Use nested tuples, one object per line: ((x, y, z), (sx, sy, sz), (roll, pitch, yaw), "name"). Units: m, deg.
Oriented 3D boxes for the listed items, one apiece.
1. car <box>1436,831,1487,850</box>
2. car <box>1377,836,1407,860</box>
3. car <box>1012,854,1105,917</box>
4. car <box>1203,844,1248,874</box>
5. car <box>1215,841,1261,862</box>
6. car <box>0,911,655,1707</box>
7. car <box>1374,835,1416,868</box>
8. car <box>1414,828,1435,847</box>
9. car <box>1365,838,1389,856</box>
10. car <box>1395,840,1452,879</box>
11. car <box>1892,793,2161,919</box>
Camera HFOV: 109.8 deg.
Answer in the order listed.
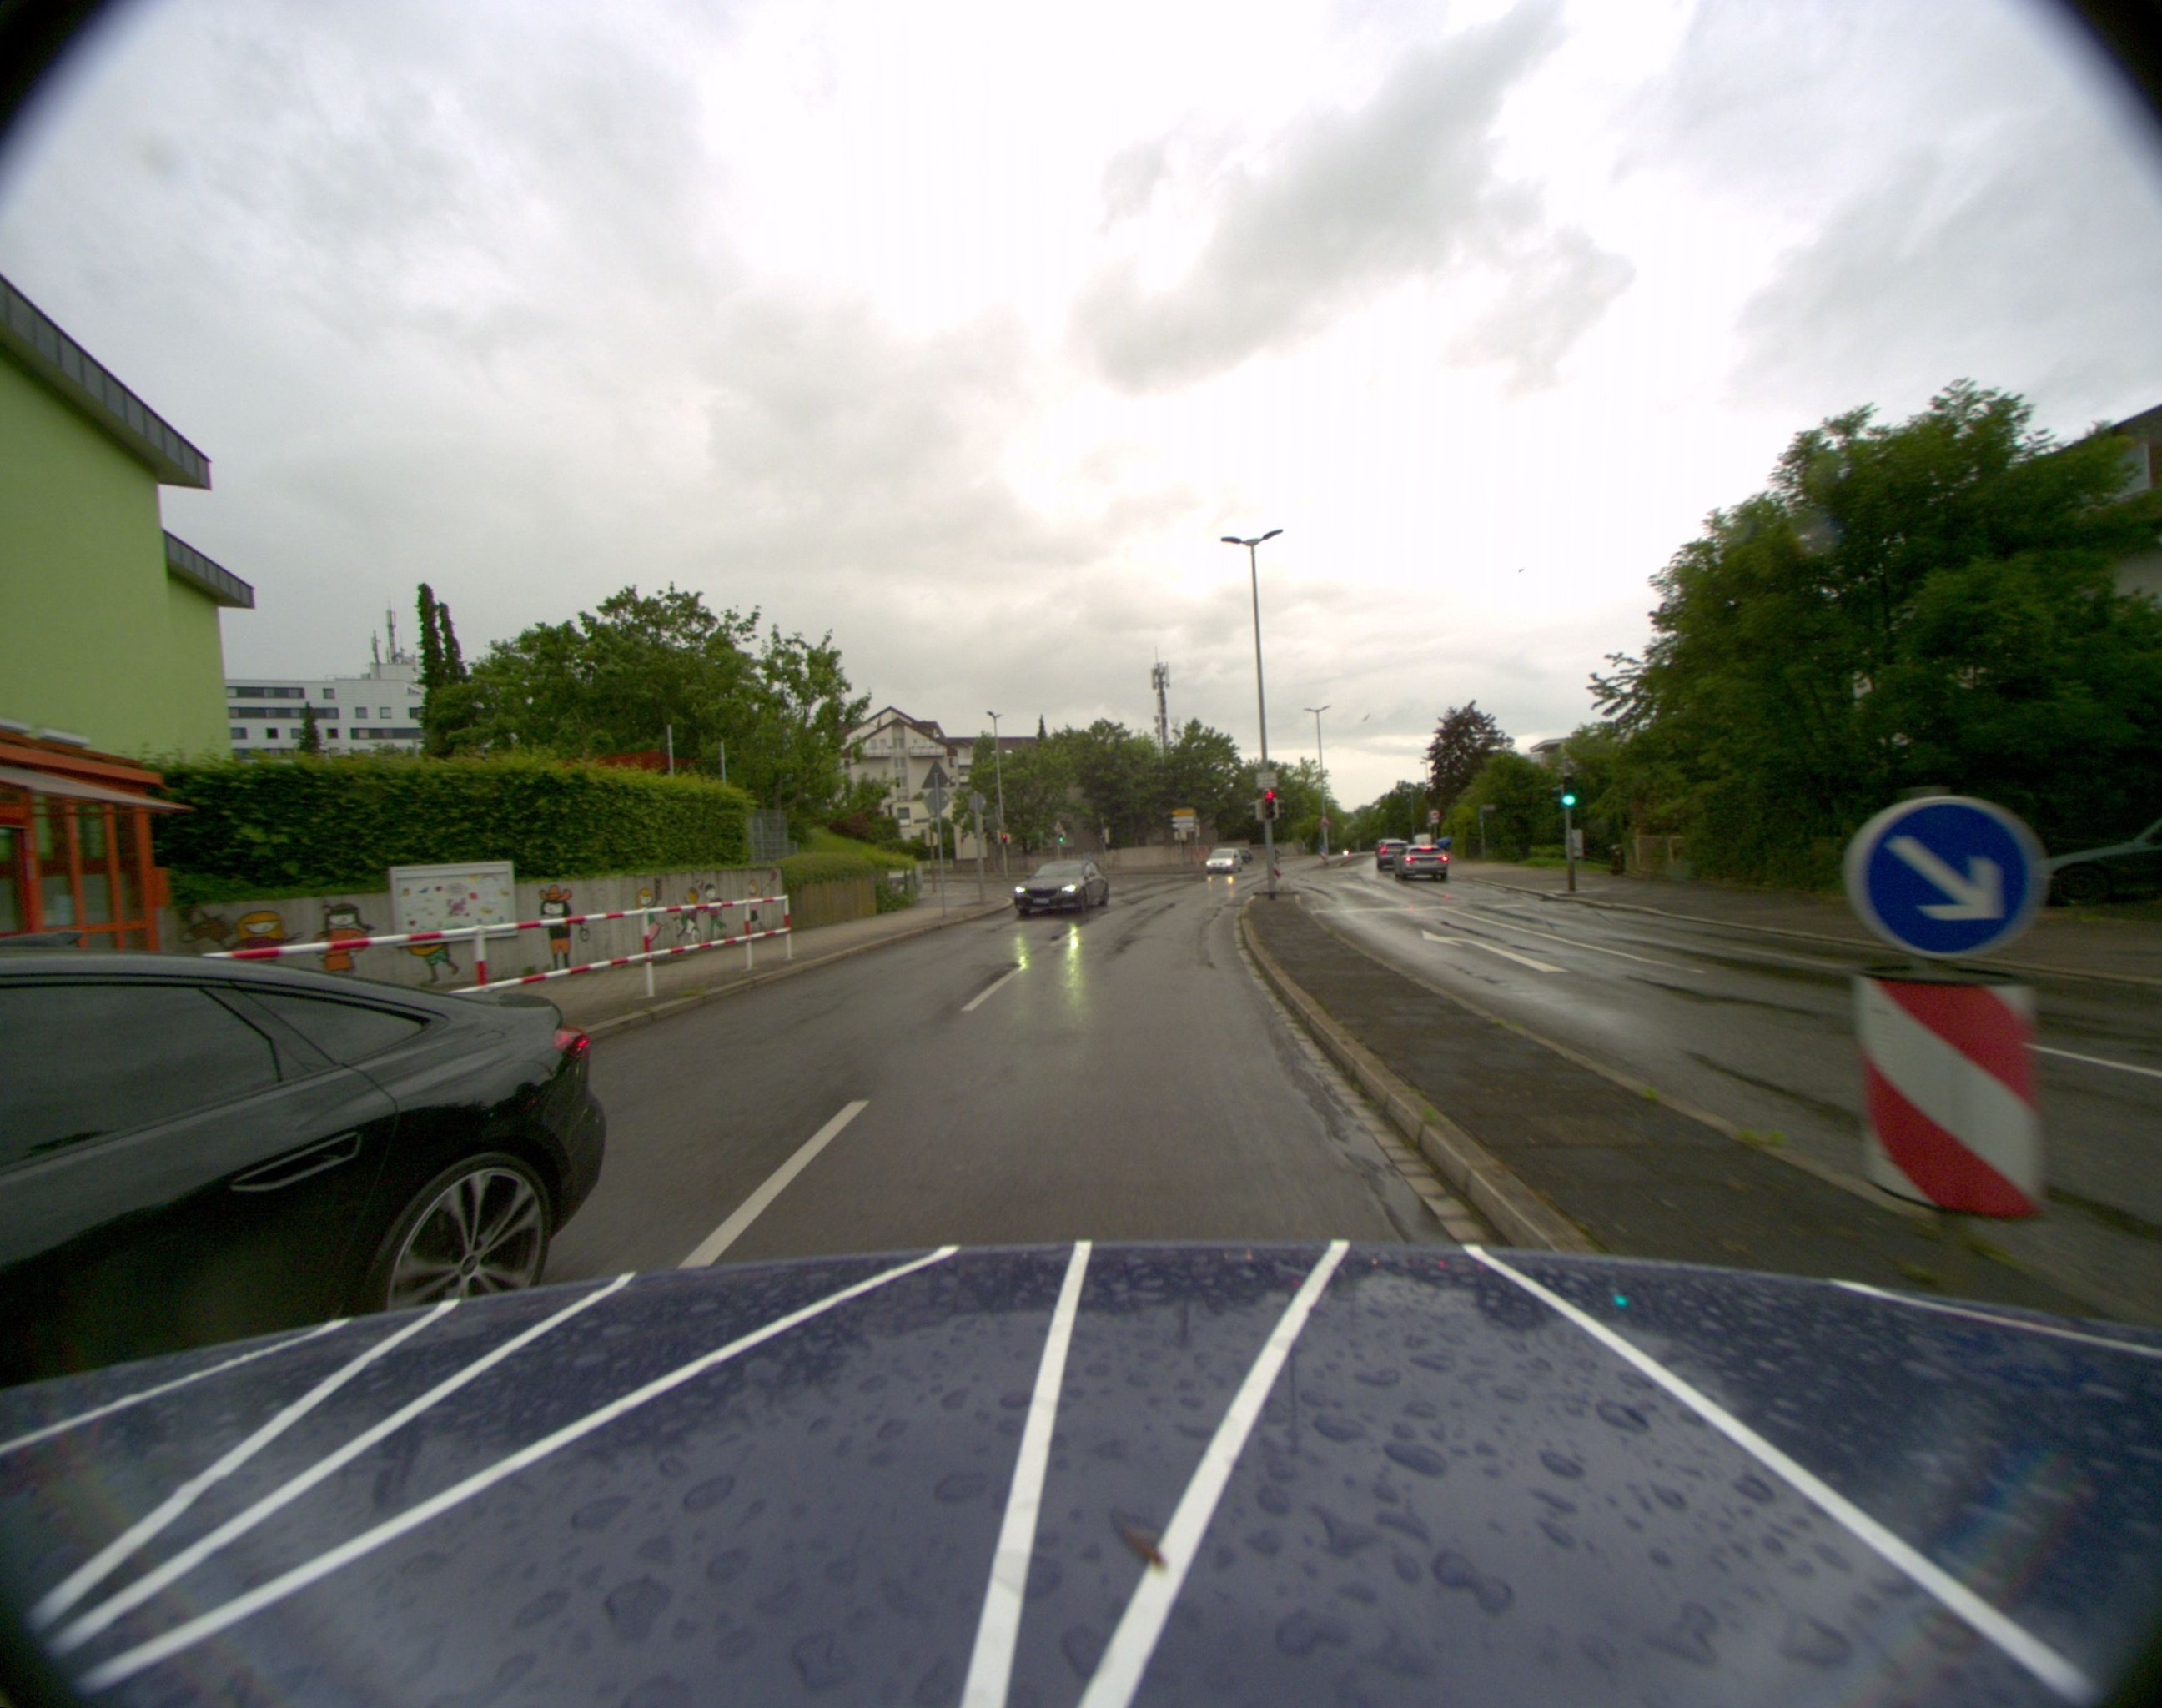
((34.289, -1.243, 68.576), (3.883, 1.448, 1.770), (-3, 2, 21), "car")
((22.368, -0.457, 54.675), (1.866, 1.545, 4.452), (-1, 2, 22), "car")
((-0.560, 0.858, 22.548), (1.871, 1.510, 4.002), (-3, 2, 11), "car")
((9.325, 0.295, 48.863), (1.995, 1.647, 4.005), (-3, 2, 23), "car")
((14.448, -0.229, 69.702), (4.233, 1.647, 1.994), (-5, 2, -43), "car")
((-2.840, 1.057, 0.813), (1.871, 1.416, 4.738), (-3, 2, 2), "car")
((18.202, -0.155, 44.206), (1.885, 1.668, 4.236), (-3, 2, 19), "car")
((35.974, -1.750, 79.583), (1.818, 1.707, 4.005), (-3, 2, 23), "car")
((27.386, -0.669, 70.256), (1.866, 1.468, 4.452), (-1, 2, 24), "car")
((14.816, 0.189, 33.103), (1.678, 1.441, 4.693), (-3, 2, 18), "car")
((15.307, -0.031, 11.356), (3.996, 1.386, 1.933), (-7, 0, 6), "car")
